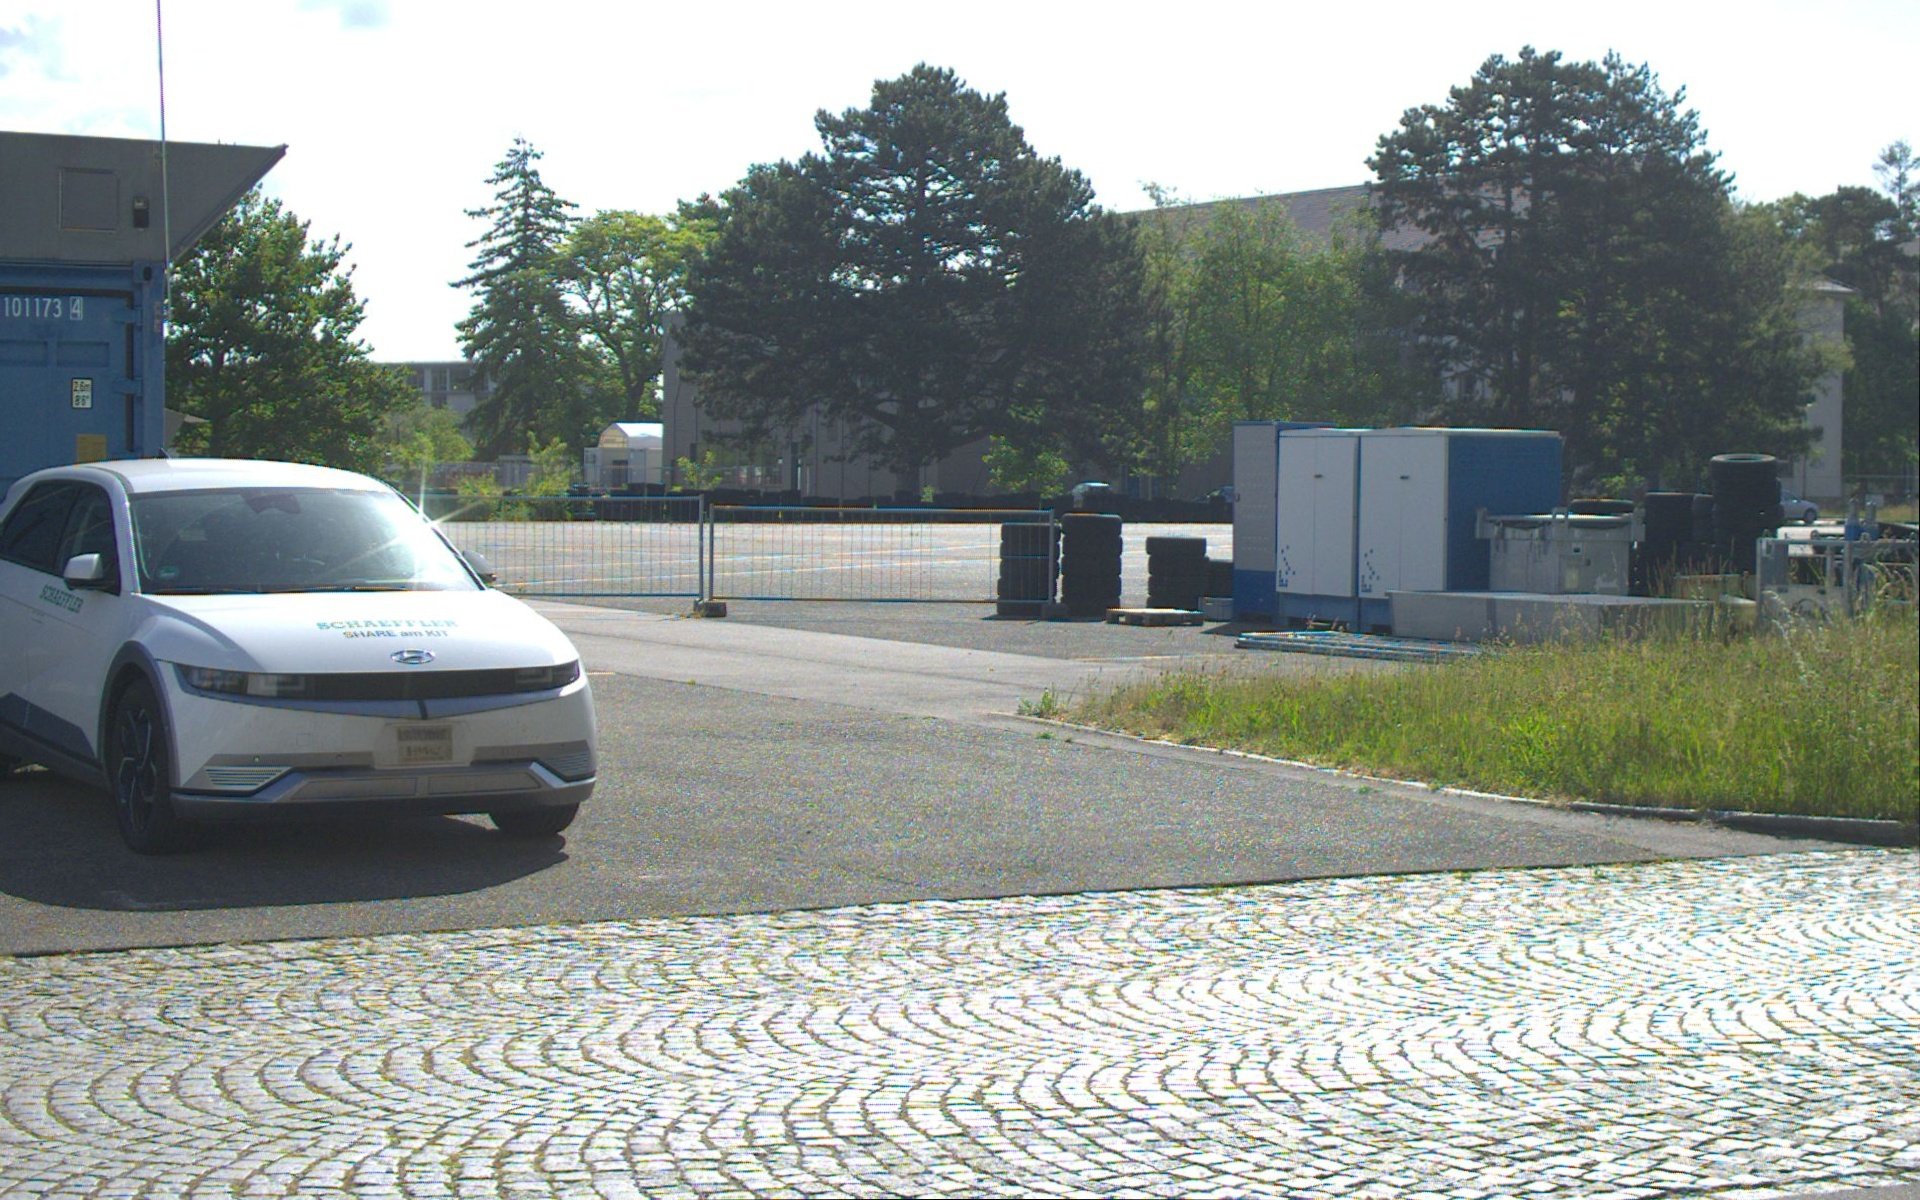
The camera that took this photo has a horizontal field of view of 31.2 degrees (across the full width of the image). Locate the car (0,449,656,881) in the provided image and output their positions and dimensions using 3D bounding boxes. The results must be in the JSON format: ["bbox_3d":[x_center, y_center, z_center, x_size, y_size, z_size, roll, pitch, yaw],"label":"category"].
[{"bbox_3d":[-3.219,0.161,15.584,1.981,1.588,4.341,0,3,-30],"label":"car"}]
